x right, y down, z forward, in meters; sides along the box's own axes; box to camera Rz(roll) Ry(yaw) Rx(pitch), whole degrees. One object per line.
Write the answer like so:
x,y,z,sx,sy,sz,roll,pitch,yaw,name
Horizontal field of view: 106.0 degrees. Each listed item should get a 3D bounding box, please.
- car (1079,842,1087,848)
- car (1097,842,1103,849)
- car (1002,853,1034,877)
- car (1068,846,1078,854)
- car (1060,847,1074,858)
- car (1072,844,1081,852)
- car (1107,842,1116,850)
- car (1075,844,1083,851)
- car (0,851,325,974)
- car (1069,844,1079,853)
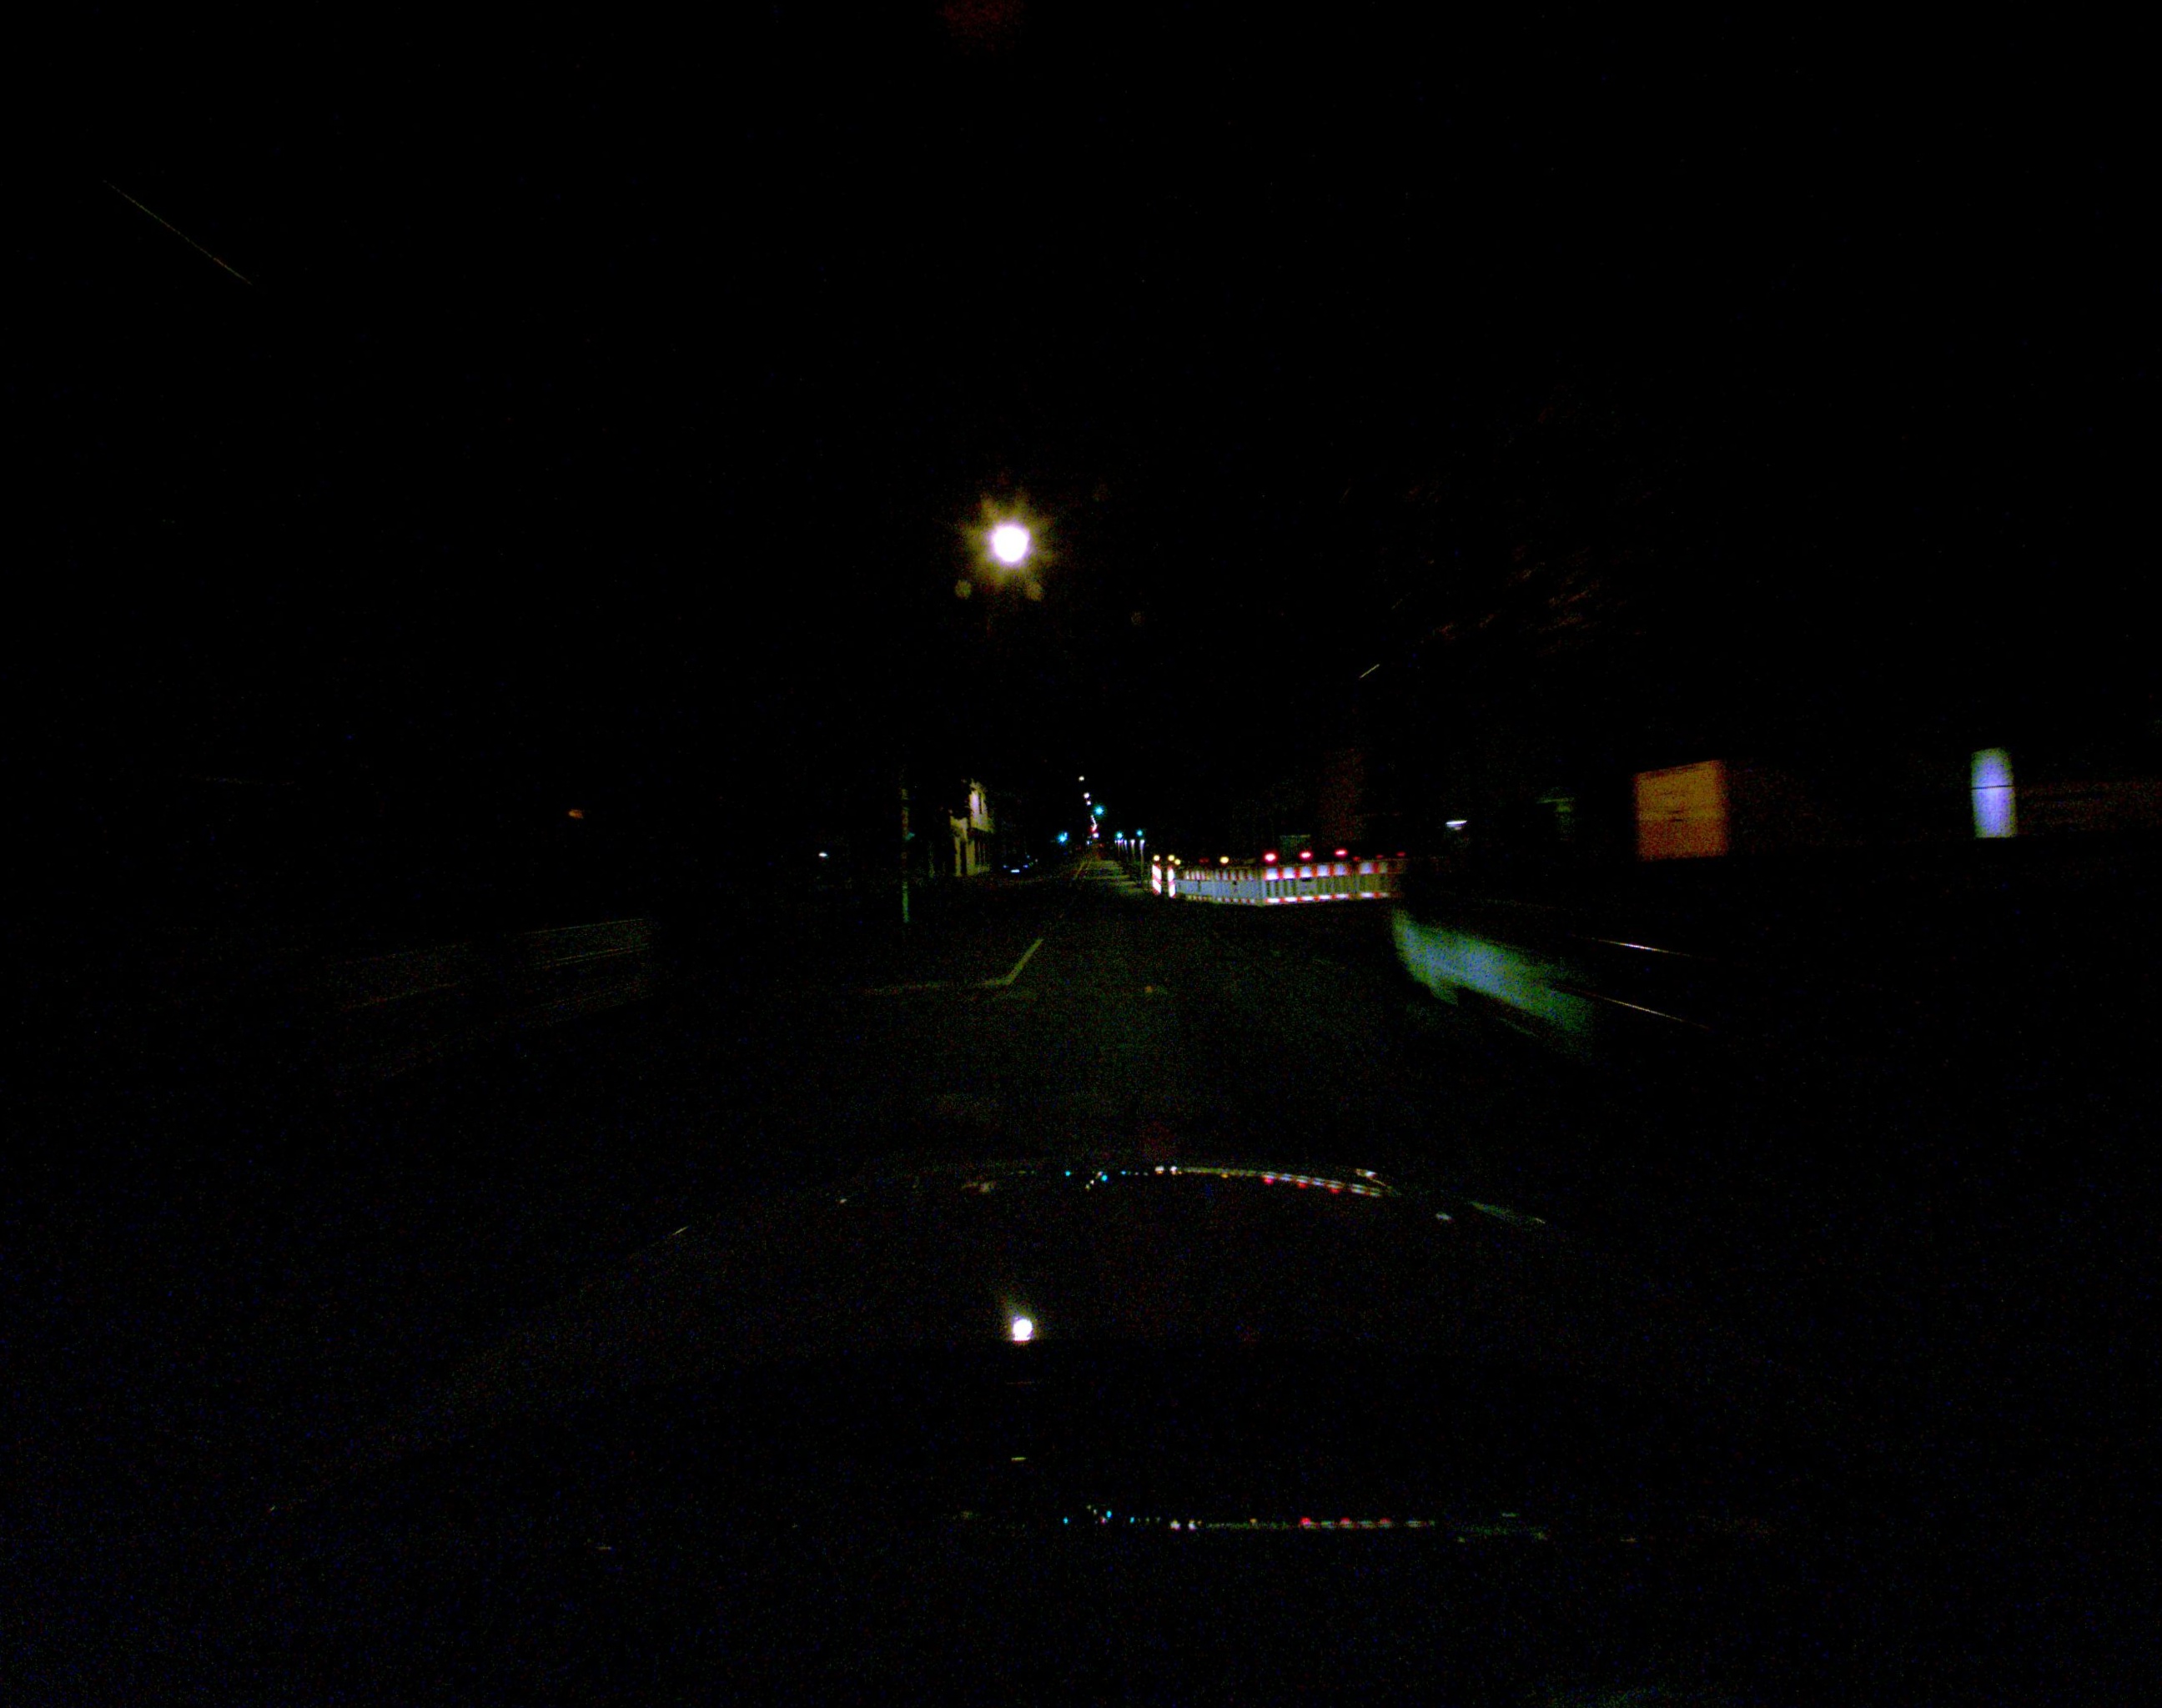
0.578,-2.846,254.009,2.069,1.814,4.207,-3,0,2,car
5.552,-2.551,237.668,1.866,1.814,4.207,-3,0,2,car
-4.123,0.718,54.066,1.665,1.443,4.206,-3,0,1,car
-1.660,-0.833,163.474,1.867,1.544,4.206,-3,0,1,car
-2.116,-0.227,125.929,1.867,1.544,4.206,-3,0,1,car
-0.970,-1.459,187.828,1.867,1.814,4.206,-3,0,1,car
6.651,-1.758,176.466,1.867,1.544,4.206,-3,0,1,car
-0.522,-1.677,205.783,1.866,1.814,4.207,-3,0,2,car
-21.964,1.372,19.327,5.827,2.544,2.246,-2,-3,0,car
-1.462,-1.170,169.528,1.867,1.814,4.206,-3,1,1,car
